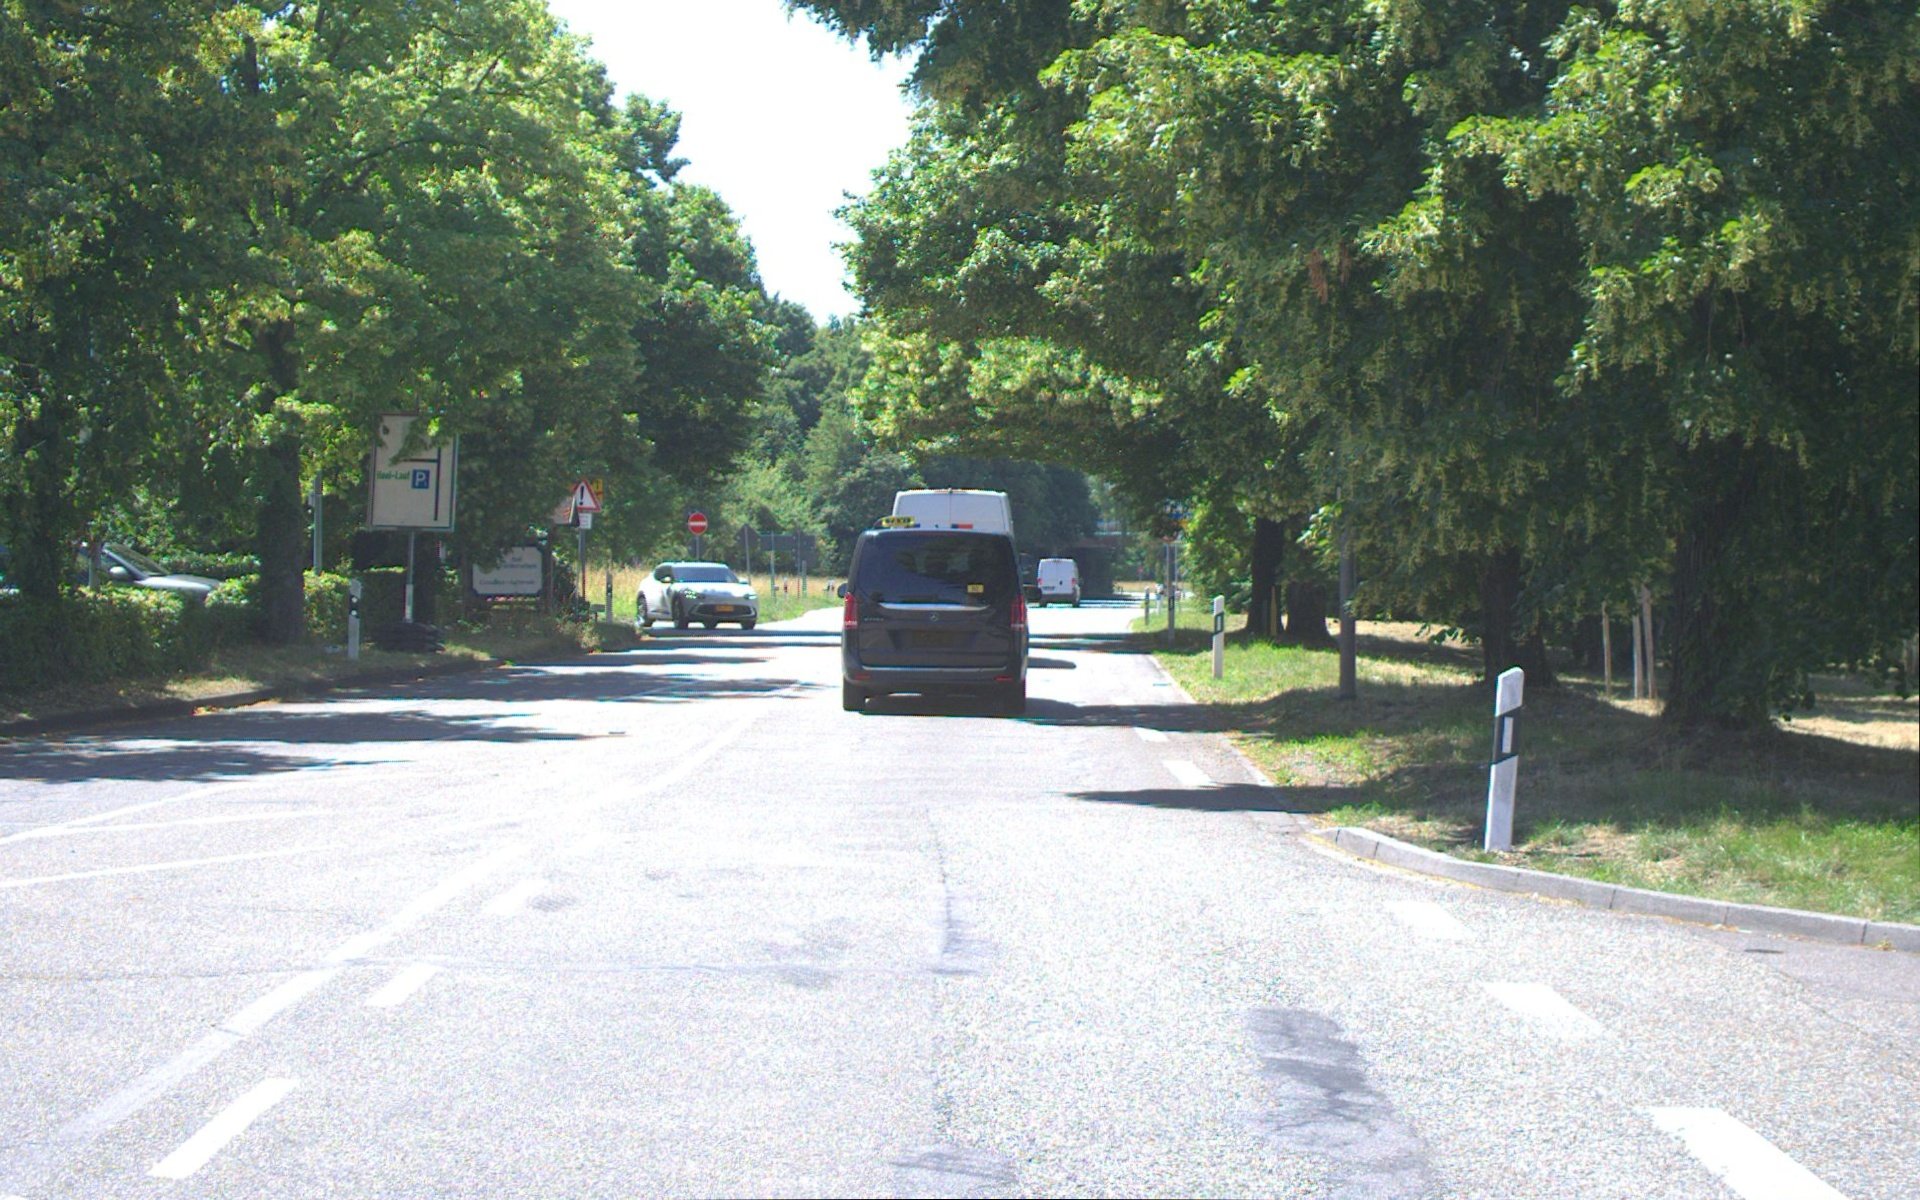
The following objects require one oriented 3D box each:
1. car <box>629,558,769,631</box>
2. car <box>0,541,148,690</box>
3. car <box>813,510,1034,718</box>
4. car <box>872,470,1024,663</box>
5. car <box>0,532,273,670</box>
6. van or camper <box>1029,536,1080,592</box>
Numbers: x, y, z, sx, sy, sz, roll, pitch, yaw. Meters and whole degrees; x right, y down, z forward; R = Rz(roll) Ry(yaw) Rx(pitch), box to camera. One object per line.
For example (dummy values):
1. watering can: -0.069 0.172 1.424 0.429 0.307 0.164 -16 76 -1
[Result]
1. car: -6.220 -0.143 81.555 2.093 1.583 4.476 2 0 -20
2. car: -11.696 0.116 39.168 4.400 1.614 1.895 2 0 0
3. car: -0.305 0.129 36.099 1.994 1.946 5.004 2 0 2
4. car: -0.134 -0.495 51.824 2.078 2.693 4.666 2 0 1
5. car: -12.012 -0.006 47.939 4.400 1.770 2.072 2 0 0
6. van or camper: 5.154 -1.926 187.068 2.632 2.919 5.206 2 0 2
